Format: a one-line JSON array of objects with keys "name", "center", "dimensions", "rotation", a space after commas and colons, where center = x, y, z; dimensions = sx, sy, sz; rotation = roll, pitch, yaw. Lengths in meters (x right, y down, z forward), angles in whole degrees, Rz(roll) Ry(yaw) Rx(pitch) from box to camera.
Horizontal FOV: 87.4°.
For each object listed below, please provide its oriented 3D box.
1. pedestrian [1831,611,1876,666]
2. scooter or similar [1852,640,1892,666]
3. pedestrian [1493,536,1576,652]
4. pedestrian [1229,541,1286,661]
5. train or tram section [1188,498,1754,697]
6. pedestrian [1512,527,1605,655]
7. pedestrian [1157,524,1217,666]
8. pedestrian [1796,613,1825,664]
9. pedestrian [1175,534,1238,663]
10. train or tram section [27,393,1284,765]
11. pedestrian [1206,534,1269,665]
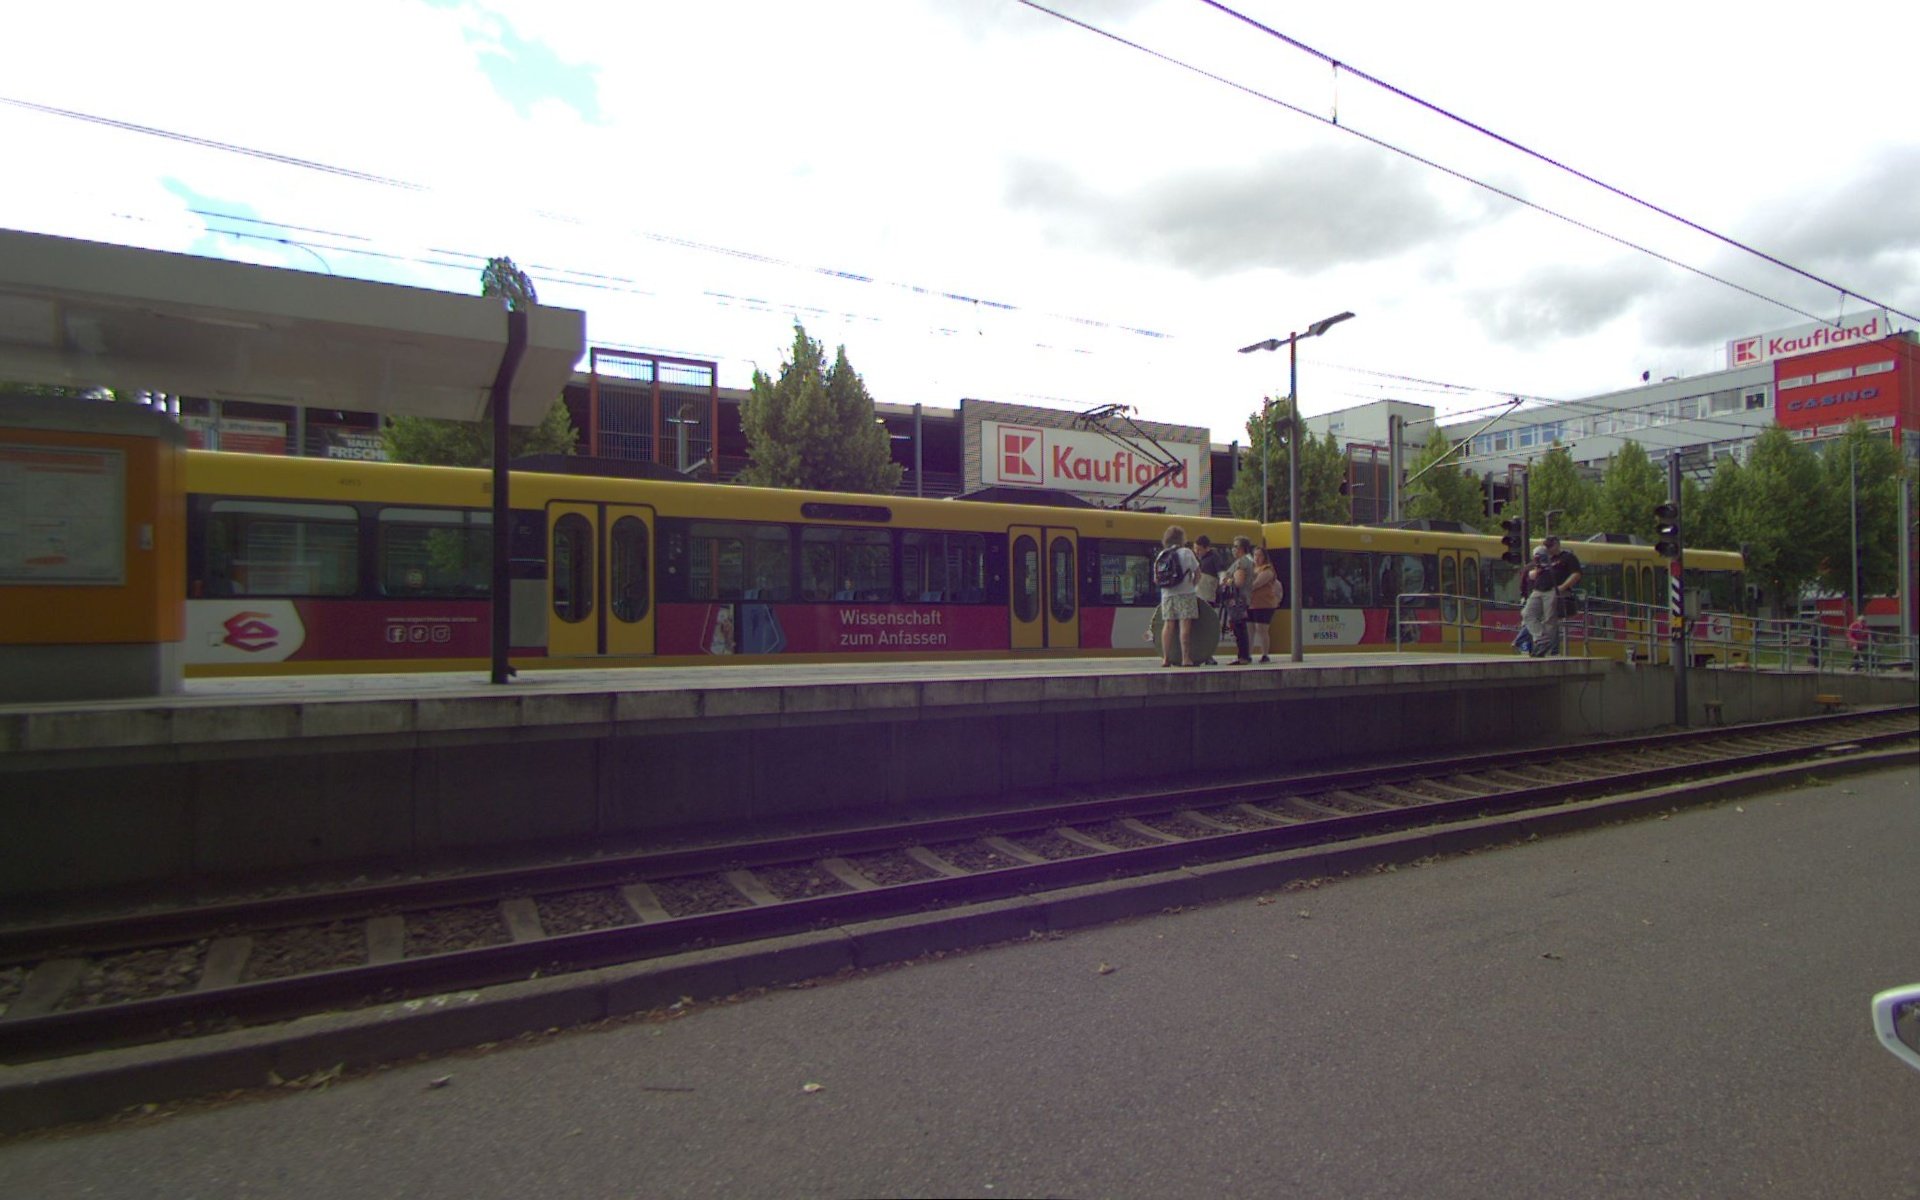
[{"name": "pedestrian", "center": [27.345, 1.177, 30.756], "dimensions": [0.781, 1.675, 0.614], "rotation": [0, -2, -9]}, {"name": "scooter or similar", "center": [27.391, 1.589, 30.178], "dimensions": [0.784, 0.778, 0.497], "rotation": [0, -2, -9]}, {"name": "pedestrian", "center": [8.779, -0.068, 15.355], "dimensions": [0.781, 1.700, 0.768], "rotation": [1, -3, -30]}, {"name": "pedestrian", "center": [3.593, 0.024, 12.138], "dimensions": [0.407, 1.424, 0.476], "rotation": [1, -3, -31]}, {"name": "train or tram section", "center": [13.696, 0.066, 25.173], "dimensions": [18.400, 3.879, 2.745], "rotation": [1, -1, -29]}, {"name": "pedestrian", "center": [8.221, -0.102, 13.832], "dimensions": [0.858, 1.700, 0.746], "rotation": [-1, -2, 14]}, {"name": "pedestrian", "center": [2.471, -0.039, 10.973], "dimensions": [0.570, 1.502, 0.521], "rotation": [-1, -2, 8]}, {"name": "pedestrian", "center": [28.368, 1.271, 33.500], "dimensions": [0.458, 1.683, 0.516], "rotation": [0, -2, -19]}, {"name": "pedestrian", "center": [2.947, -0.010, 12.020], "dimensions": [0.534, 1.502, 0.474], "rotation": [0, -3, -21]}, {"name": "train or tram section", "center": [-2.423, -0.114, 16.281], "dimensions": [18.401, 3.934, 2.745], "rotation": [1, -1, -29]}, {"name": "pedestrian", "center": [3.204, 0.000, 11.614], "dimensions": [0.632, 1.484, 0.359], "rotation": [0, -1, -31]}]
